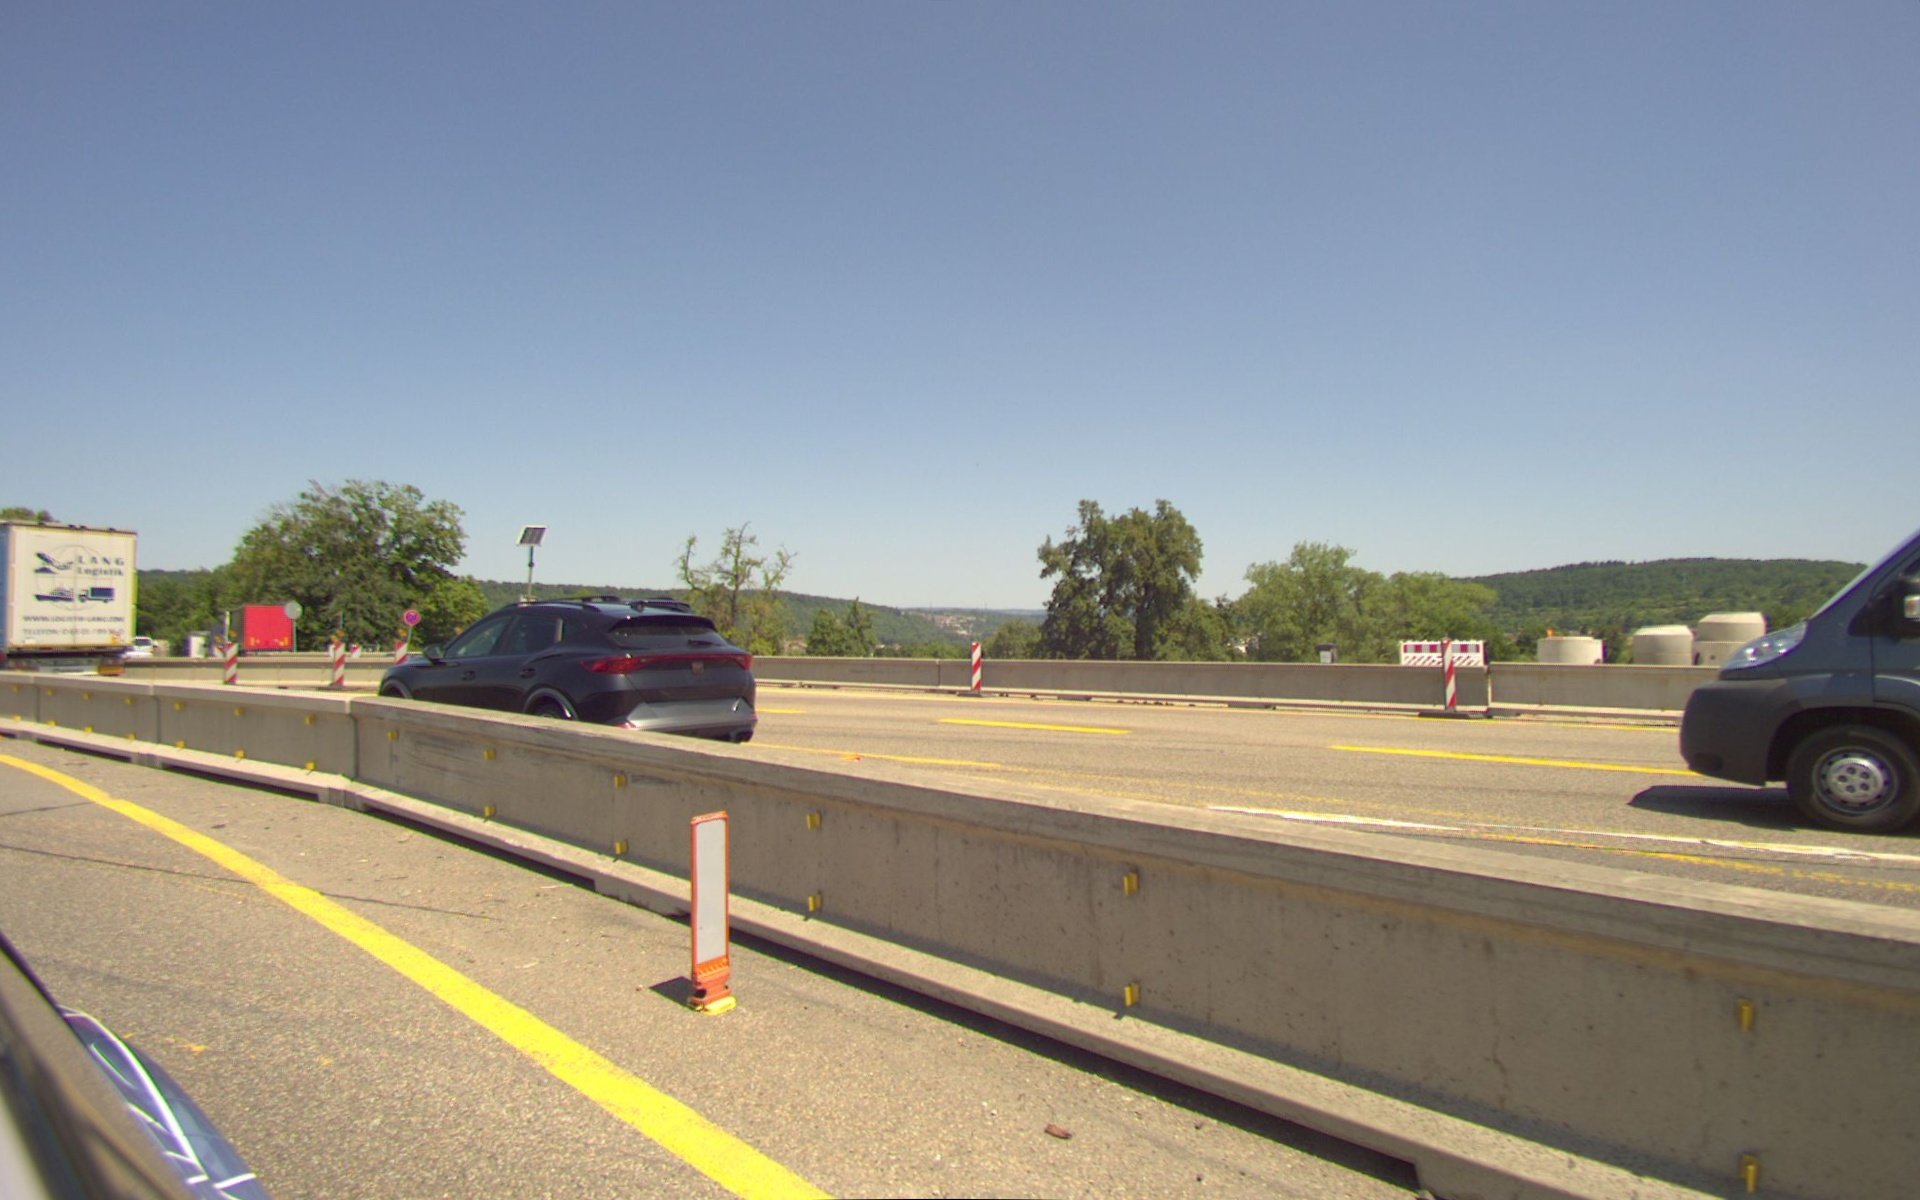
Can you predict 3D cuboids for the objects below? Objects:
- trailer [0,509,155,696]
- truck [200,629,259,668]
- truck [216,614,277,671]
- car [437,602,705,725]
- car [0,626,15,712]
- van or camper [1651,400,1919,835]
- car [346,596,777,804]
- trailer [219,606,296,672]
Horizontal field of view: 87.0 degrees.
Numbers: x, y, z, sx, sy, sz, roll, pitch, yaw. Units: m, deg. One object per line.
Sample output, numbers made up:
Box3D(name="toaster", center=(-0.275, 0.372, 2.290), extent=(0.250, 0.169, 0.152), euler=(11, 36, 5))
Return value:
Box3D(name="trailer", center=(-26.935, 0.299, 26.530), extent=(13.827, 4.160, 2.900), euler=(-2, -3, 24))
Box3D(name="truck", center=(-59.445, 3.963, 82.275), extent=(2.787, 3.087, 7.125), euler=(2, -4, -45))
Box3D(name="truck", center=(-52.872, 3.194, 74.936), extent=(3.110, 4.016, 6.357), euler=(2, -4, -40))
Box3D(name="car", center=(-6.492, 1.003, 16.695), extent=(4.698, 1.778, 1.760), euler=(-2, -3, 34))
Box3D(name="car", center=(-20.528, 1.321, 19.514), extent=(4.683, 1.620, 1.758), euler=(-1, -3, 26))
Box3D(name="van or camper", center=(7.708, 0.083, 5.474), extent=(6.304, 2.561, 2.076), euler=(-2, -3, 43))
Box3D(name="car", center=(-3.832, 0.810, 9.364), extent=(4.464, 1.493, 1.673), euler=(-2, -3, 38))
Box3D(name="trailer", center=(-48.796, 2.819, 70.079), extent=(3.110, 4.143, 14.186), euler=(2, -4, -40))
